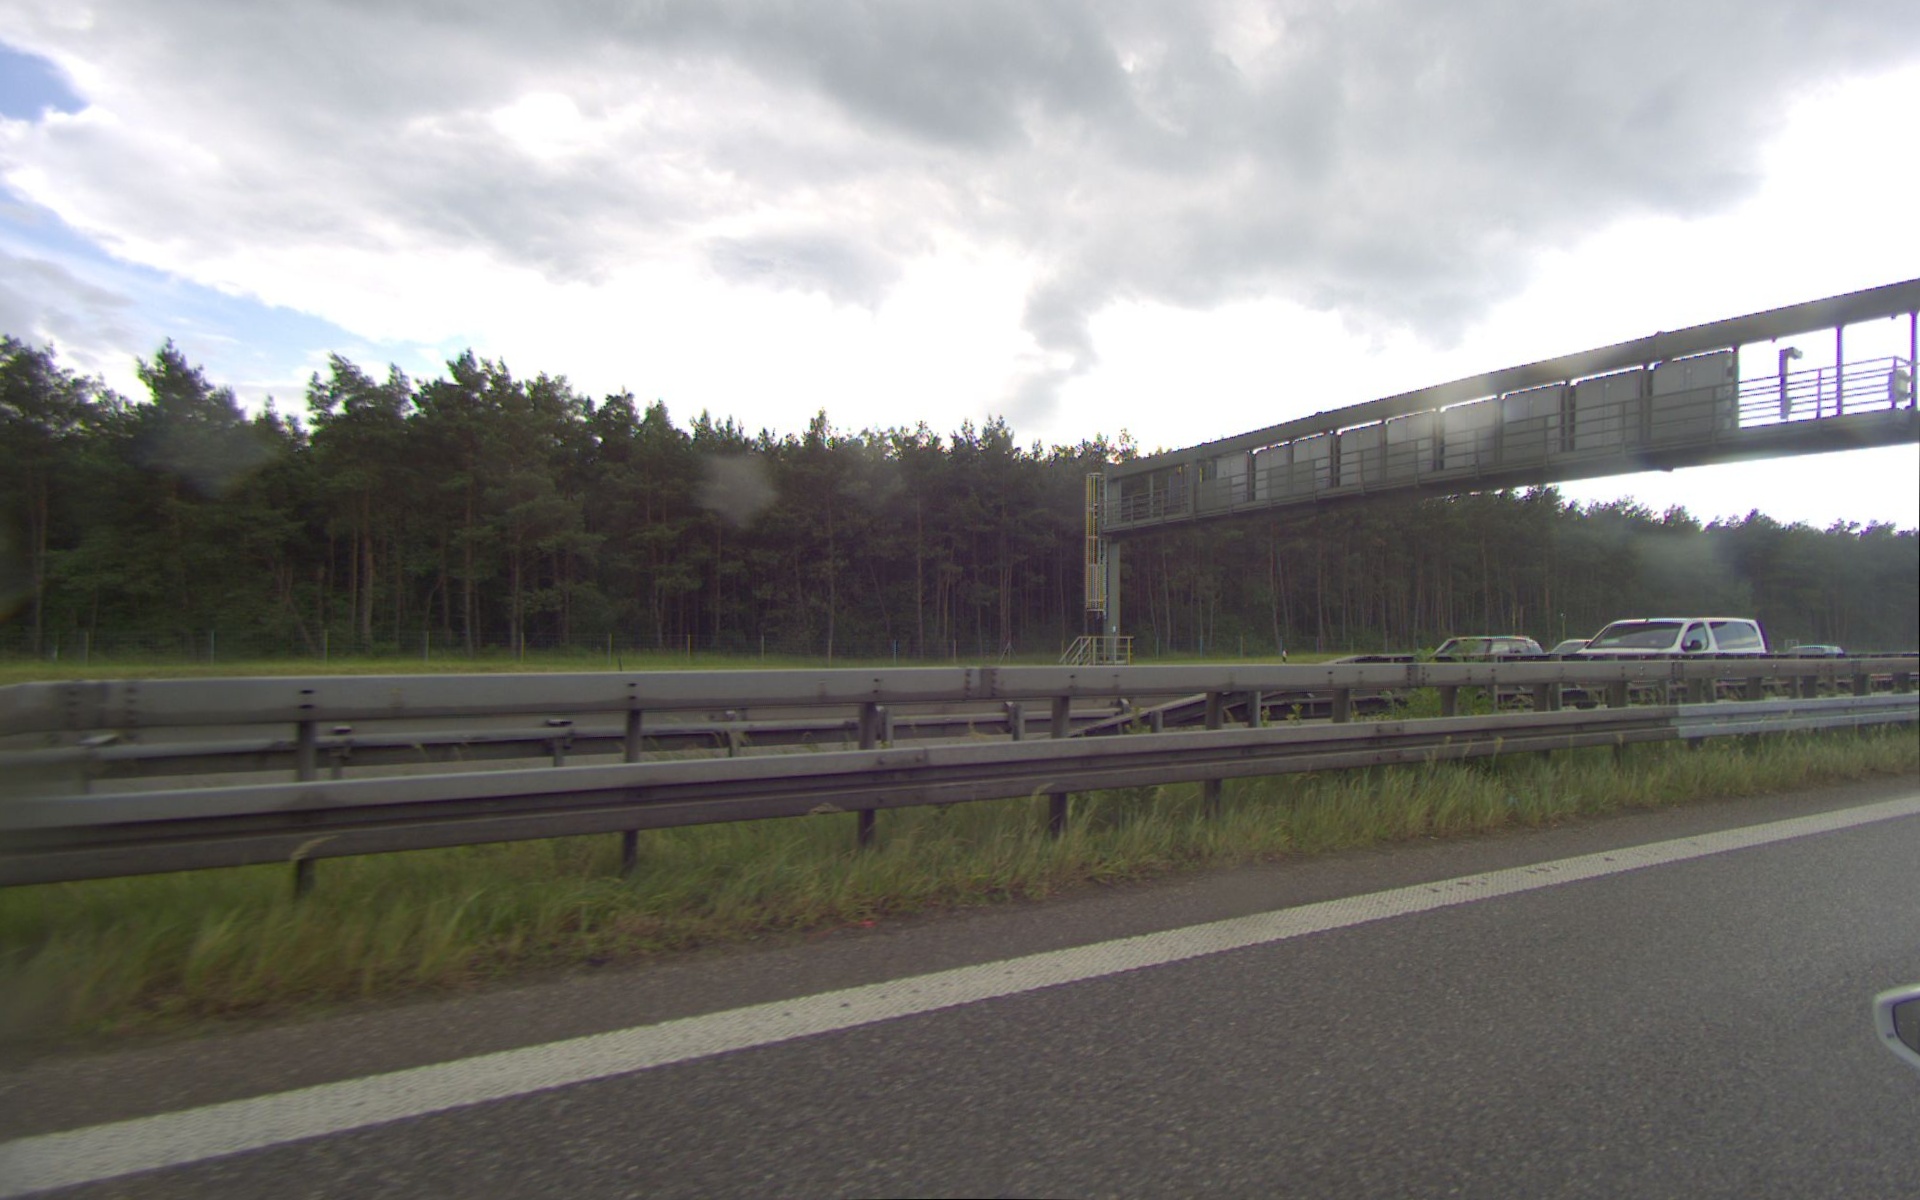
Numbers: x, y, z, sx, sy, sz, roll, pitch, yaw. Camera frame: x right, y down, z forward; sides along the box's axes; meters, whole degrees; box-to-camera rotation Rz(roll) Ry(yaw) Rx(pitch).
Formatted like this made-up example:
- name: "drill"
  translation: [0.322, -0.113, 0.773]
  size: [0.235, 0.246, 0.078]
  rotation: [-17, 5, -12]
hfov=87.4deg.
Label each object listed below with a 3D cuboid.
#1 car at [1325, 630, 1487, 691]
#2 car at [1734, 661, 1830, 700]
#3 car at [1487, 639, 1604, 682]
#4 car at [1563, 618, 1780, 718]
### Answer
- name: "car"
  translation: [10.055, 1.354, 22.603]
  size: [3.540, 1.274, 1.558]
  rotation: [2, -3, -31]
- name: "car"
  translation: [32.803, 3.174, 40.080]
  size: [3.954, 1.394, 1.735]
  rotation: [2, -2, -31]
- name: "car"
  translation: [18.813, 1.914, 32.233]
  size: [3.797, 1.274, 1.617]
  rotation: [2, -1, -31]
- name: "car"
  translation: [14.893, 1.337, 20.971]
  size: [4.840, 1.893, 1.889]
  rotation: [1, -2, -31]
